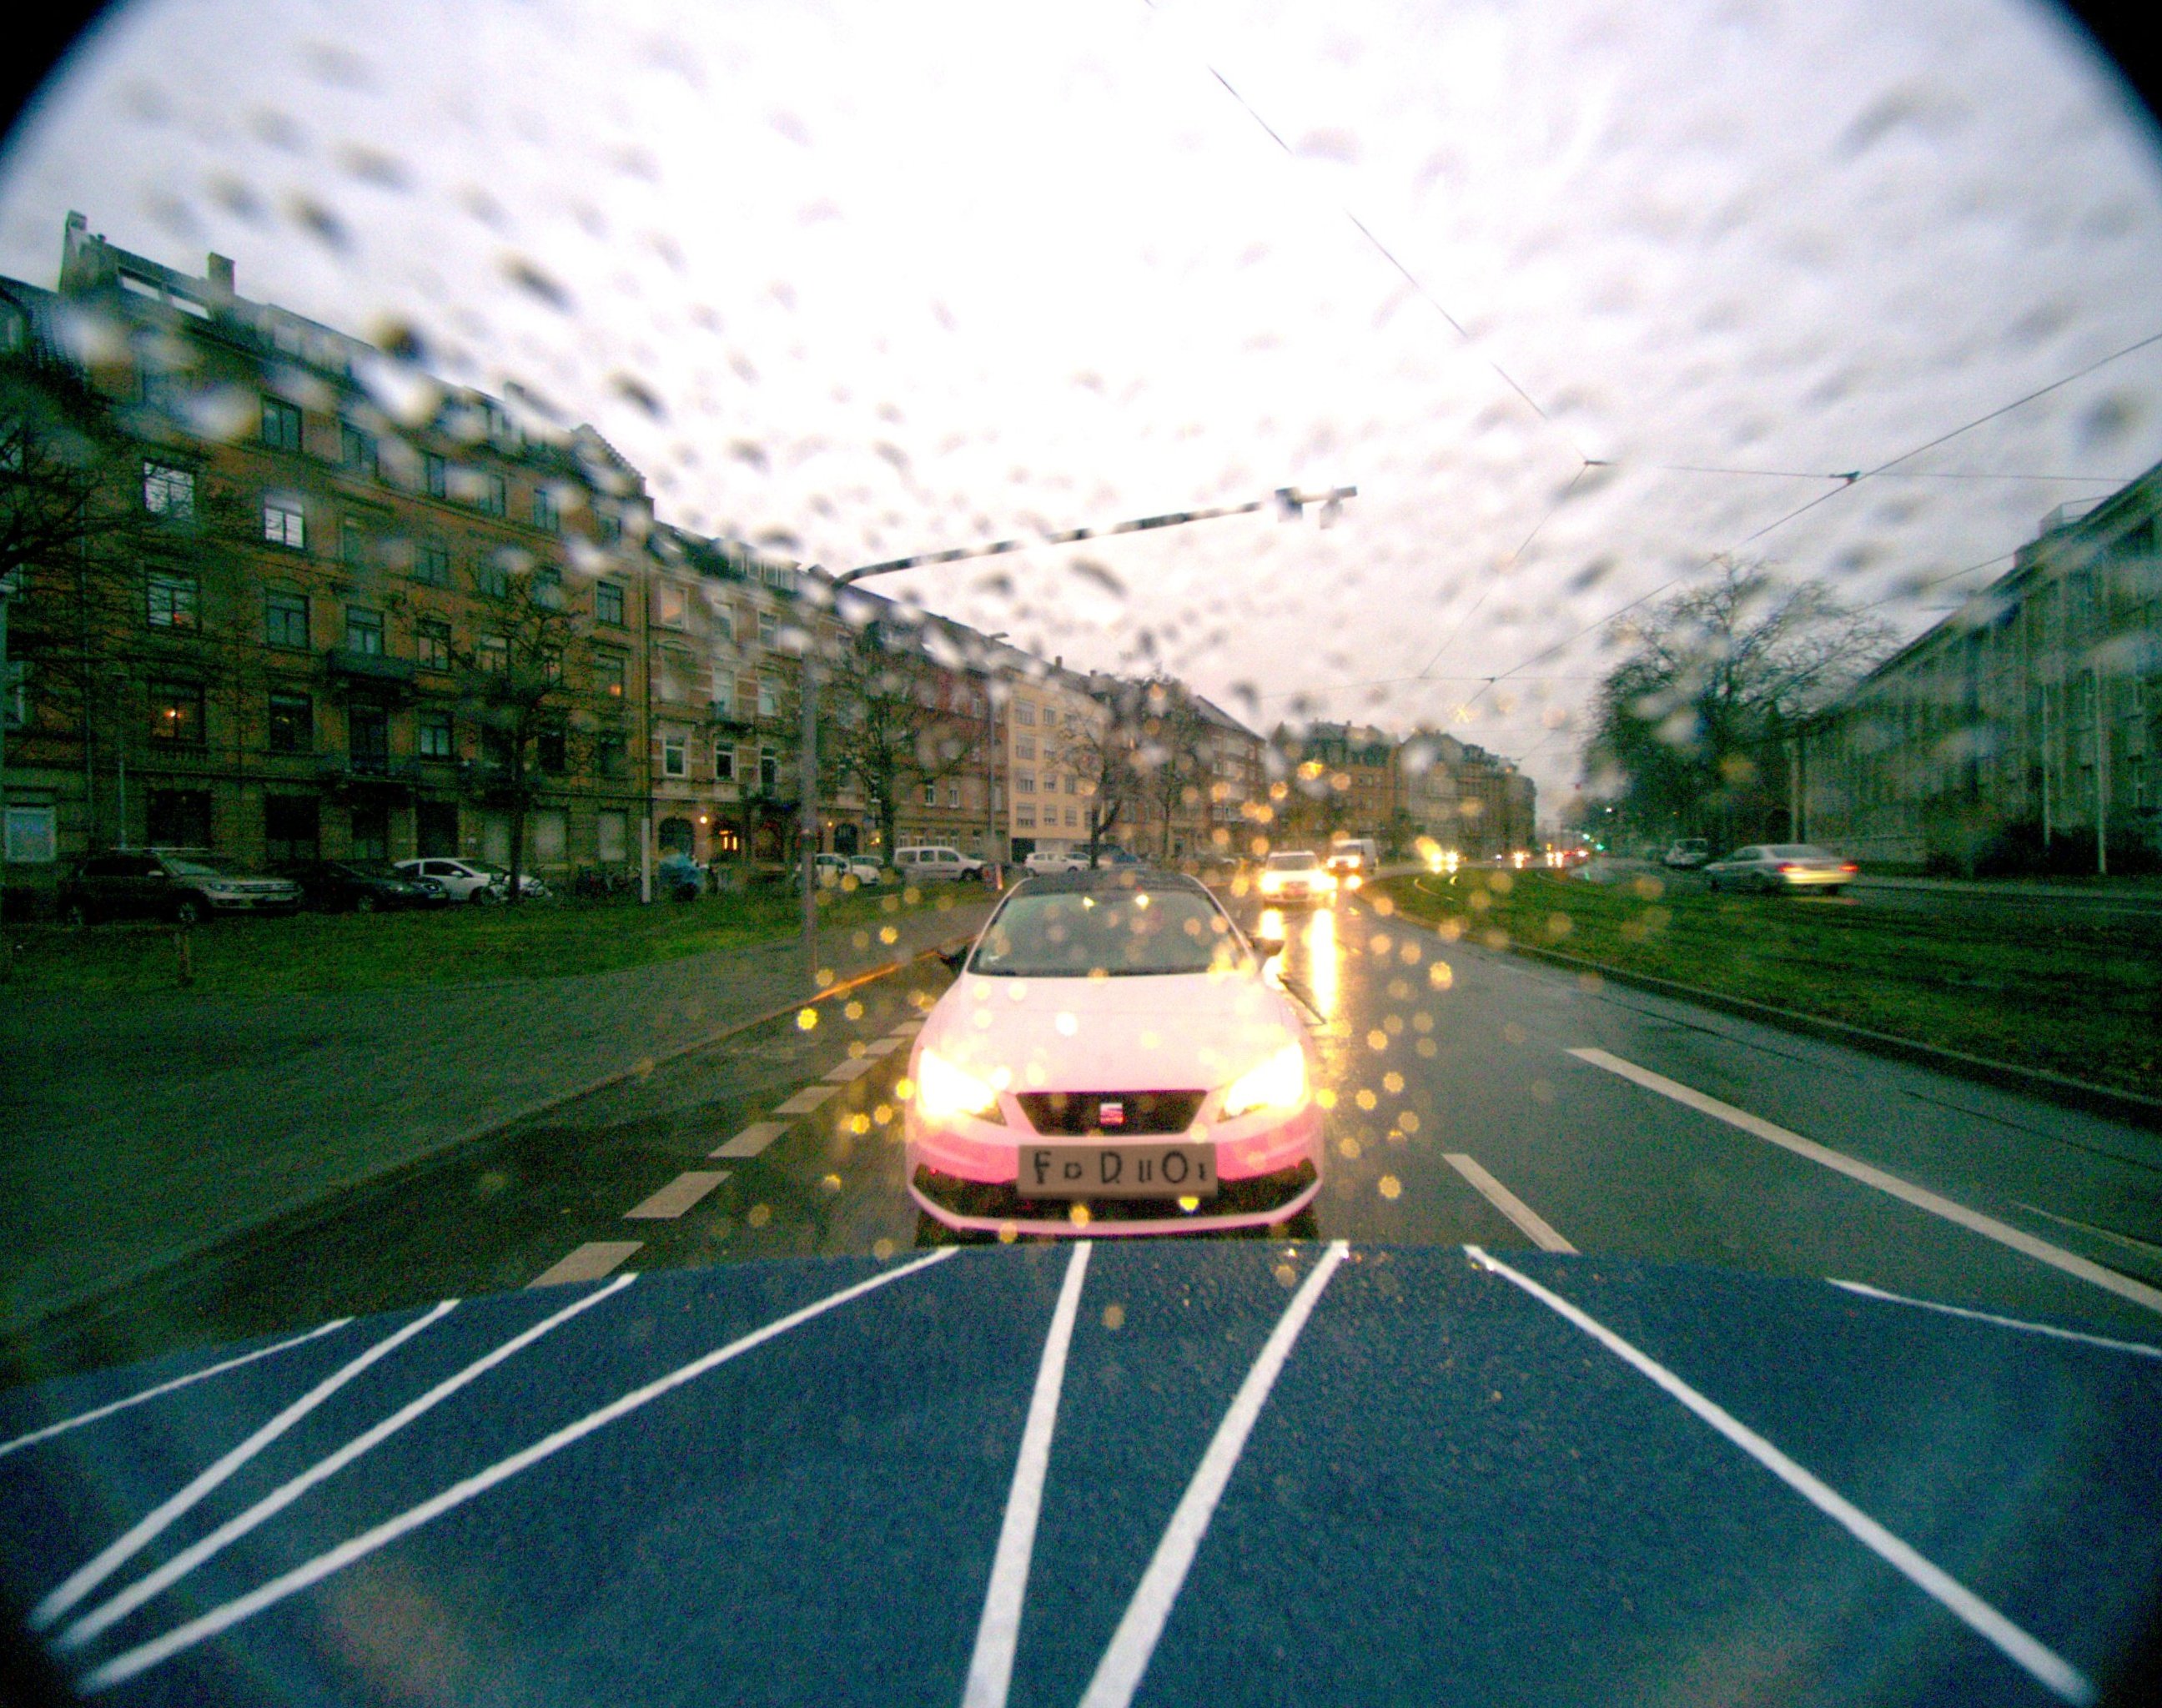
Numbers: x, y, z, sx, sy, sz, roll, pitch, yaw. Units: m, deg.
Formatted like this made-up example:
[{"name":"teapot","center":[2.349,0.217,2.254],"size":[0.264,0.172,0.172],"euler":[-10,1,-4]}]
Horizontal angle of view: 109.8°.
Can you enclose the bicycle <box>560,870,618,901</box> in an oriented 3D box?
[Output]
[{"name":"bicycle","center":[-16.117,1.045,24.863],"size":[2.165,0.960,0.627],"euler":[-2,-2,28]}]

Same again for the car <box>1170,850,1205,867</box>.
[{"name":"car","center":[10.642,0.421,75.792],"size":[1.690,1.534,4.008],"euler":[-3,0,38]}]

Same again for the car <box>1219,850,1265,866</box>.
[{"name":"car","center":[13.949,0.346,65.875],"size":[3.762,1.271,1.602],"euler":[-1,0,5]}]

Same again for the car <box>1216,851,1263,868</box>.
[{"name":"car","center":[13.365,0.464,64.033],"size":[3.760,1.324,1.603],"euler":[-3,0,11]}]

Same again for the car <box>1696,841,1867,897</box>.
[{"name":"car","center":[20.925,0.399,22.995],"size":[1.823,1.426,4.660],"euler":[-3,0,15]}]

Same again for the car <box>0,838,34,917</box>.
[{"name":"car","center":[-29.111,0.599,17.954],"size":[1.994,2.002,4.997],"euler":[1,1,33]}]

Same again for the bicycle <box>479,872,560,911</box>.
[{"name":"bicycle","center":[-14.425,0.947,19.564],"size":[1.655,0.931,0.513],"euler":[0,0,-35]}]

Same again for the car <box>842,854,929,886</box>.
[{"name":"car","center":[-8.752,0.704,34.196],"size":[3.430,1.343,1.664],"euler":[-2,0,2]}]

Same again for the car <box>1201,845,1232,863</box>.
[{"name":"car","center":[14.308,-0.023,80.331],"size":[1.670,1.693,3.472],"euler":[-3,0,40]}]

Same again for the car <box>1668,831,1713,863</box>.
[{"name":"car","center":[41.810,-0.479,52.192],"size":[1.995,2.002,4.518],"euler":[-3,0,35]}]

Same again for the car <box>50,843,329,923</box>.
[{"name":"car","center":[-19.482,0.585,16.741],"size":[3.996,1.627,1.944],"euler":[0,1,4]}]

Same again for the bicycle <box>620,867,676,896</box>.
[{"name":"bicycle","center":[-15.046,0.937,26.366],"size":[2.165,0.960,0.627],"euler":[0,1,28]}]

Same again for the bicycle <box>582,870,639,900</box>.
[{"name":"bicycle","center":[-15.776,1.059,25.450],"size":[2.165,0.960,0.627],"euler":[-2,-2,28]}]

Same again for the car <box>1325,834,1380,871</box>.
[{"name":"car","center":[18.906,-0.155,52.664],"size":[2.125,2.366,5.649],"euler":[-3,0,34]}]

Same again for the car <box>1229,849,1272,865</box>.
[{"name":"car","center":[15.463,0.262,69.351],"size":[3.760,1.346,1.603],"euler":[-3,0,11]}]

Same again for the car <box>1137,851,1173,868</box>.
[{"name":"car","center":[6.894,0.464,70.611],"size":[1.470,1.534,3.880],"euler":[0,1,38]}]

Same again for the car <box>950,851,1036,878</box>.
[{"name":"car","center":[-4.456,0.545,38.793],"size":[4.058,1.227,1.771],"euler":[1,0,6]}]

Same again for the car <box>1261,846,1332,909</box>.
[{"name":"car","center":[6.606,0.653,23.033],"size":[1.672,1.650,4.154],"euler":[-3,0,20]}]

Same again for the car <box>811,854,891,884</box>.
[{"name":"car","center":[-12.643,0.816,42.012],"size":[1.733,1.492,4.058],"euler":[-3,-1,32]}]

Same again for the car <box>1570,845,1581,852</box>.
[{"name":"car","center":[140.698,-1.595,216.290],"size":[1.948,1.804,4.008],"euler":[0,1,43]}]

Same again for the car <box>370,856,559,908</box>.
[{"name":"car","center":[-17.124,0.757,21.240],"size":[3.856,1.329,1.698],"euler":[-1,0,-1]}]

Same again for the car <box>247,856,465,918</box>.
[{"name":"car","center":[-17.928,0.800,18.931],"size":[3.742,1.346,1.677],"euler":[-2,-1,-2]}]

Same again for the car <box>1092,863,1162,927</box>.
[{"name":"car","center":[1.162,0.959,18.901],"size":[1.589,1.418,3.135],"euler":[-1,0,4]}]

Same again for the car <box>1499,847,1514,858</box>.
[{"name":"car","center":[64.416,-0.304,115.091],"size":[1.719,1.608,3.946],"euler":[-1,0,32]}]

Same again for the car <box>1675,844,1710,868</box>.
[{"name":"car","center":[38.993,0.089,48.495],"size":[1.557,1.420,2.960],"euler":[-1,1,36]}]

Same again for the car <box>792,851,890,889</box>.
[{"name":"car","center":[-9.977,0.658,31.735],"size":[3.462,1.435,1.615],"euler":[-2,0,6]}]

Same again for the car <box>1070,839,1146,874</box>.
[{"name":"car","center":[1.681,0.163,48.560],"size":[4.720,1.971,1.799],"euler":[-2,0,-2]}]

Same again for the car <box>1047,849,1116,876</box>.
[{"name":"car","center":[0.004,0.517,45.835],"size":[3.998,1.406,1.641],"euler":[-3,0,-2]}]

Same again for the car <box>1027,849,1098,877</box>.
[{"name":"car","center":[-1.027,0.513,43.704],"size":[3.770,1.424,1.762],"euler":[-3,0,9]}]

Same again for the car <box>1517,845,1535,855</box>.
[{"name":"car","center":[68.315,-0.646,116.638],"size":[1.892,1.405,3.955],"euler":[0,0,36]}]

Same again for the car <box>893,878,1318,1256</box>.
[{"name":"car","center":[0.129,0.957,5.033],"size":[1.715,1.404,3.679],"euler":[-3,0,1]}]

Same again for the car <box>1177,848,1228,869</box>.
[{"name":"car","center":[9.532,0.336,59.795],"size":[3.869,1.397,1.695],"euler":[-3,0,6]}]

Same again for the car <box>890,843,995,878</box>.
[{"name":"car","center":[-6.617,0.302,36.527],"size":[4.659,1.583,1.778],"euler":[1,1,3]}]

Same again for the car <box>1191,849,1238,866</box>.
[{"name":"car","center":[10.937,0.255,62.282],"size":[3.760,1.325,1.603],"euler":[-1,1,11]}]
